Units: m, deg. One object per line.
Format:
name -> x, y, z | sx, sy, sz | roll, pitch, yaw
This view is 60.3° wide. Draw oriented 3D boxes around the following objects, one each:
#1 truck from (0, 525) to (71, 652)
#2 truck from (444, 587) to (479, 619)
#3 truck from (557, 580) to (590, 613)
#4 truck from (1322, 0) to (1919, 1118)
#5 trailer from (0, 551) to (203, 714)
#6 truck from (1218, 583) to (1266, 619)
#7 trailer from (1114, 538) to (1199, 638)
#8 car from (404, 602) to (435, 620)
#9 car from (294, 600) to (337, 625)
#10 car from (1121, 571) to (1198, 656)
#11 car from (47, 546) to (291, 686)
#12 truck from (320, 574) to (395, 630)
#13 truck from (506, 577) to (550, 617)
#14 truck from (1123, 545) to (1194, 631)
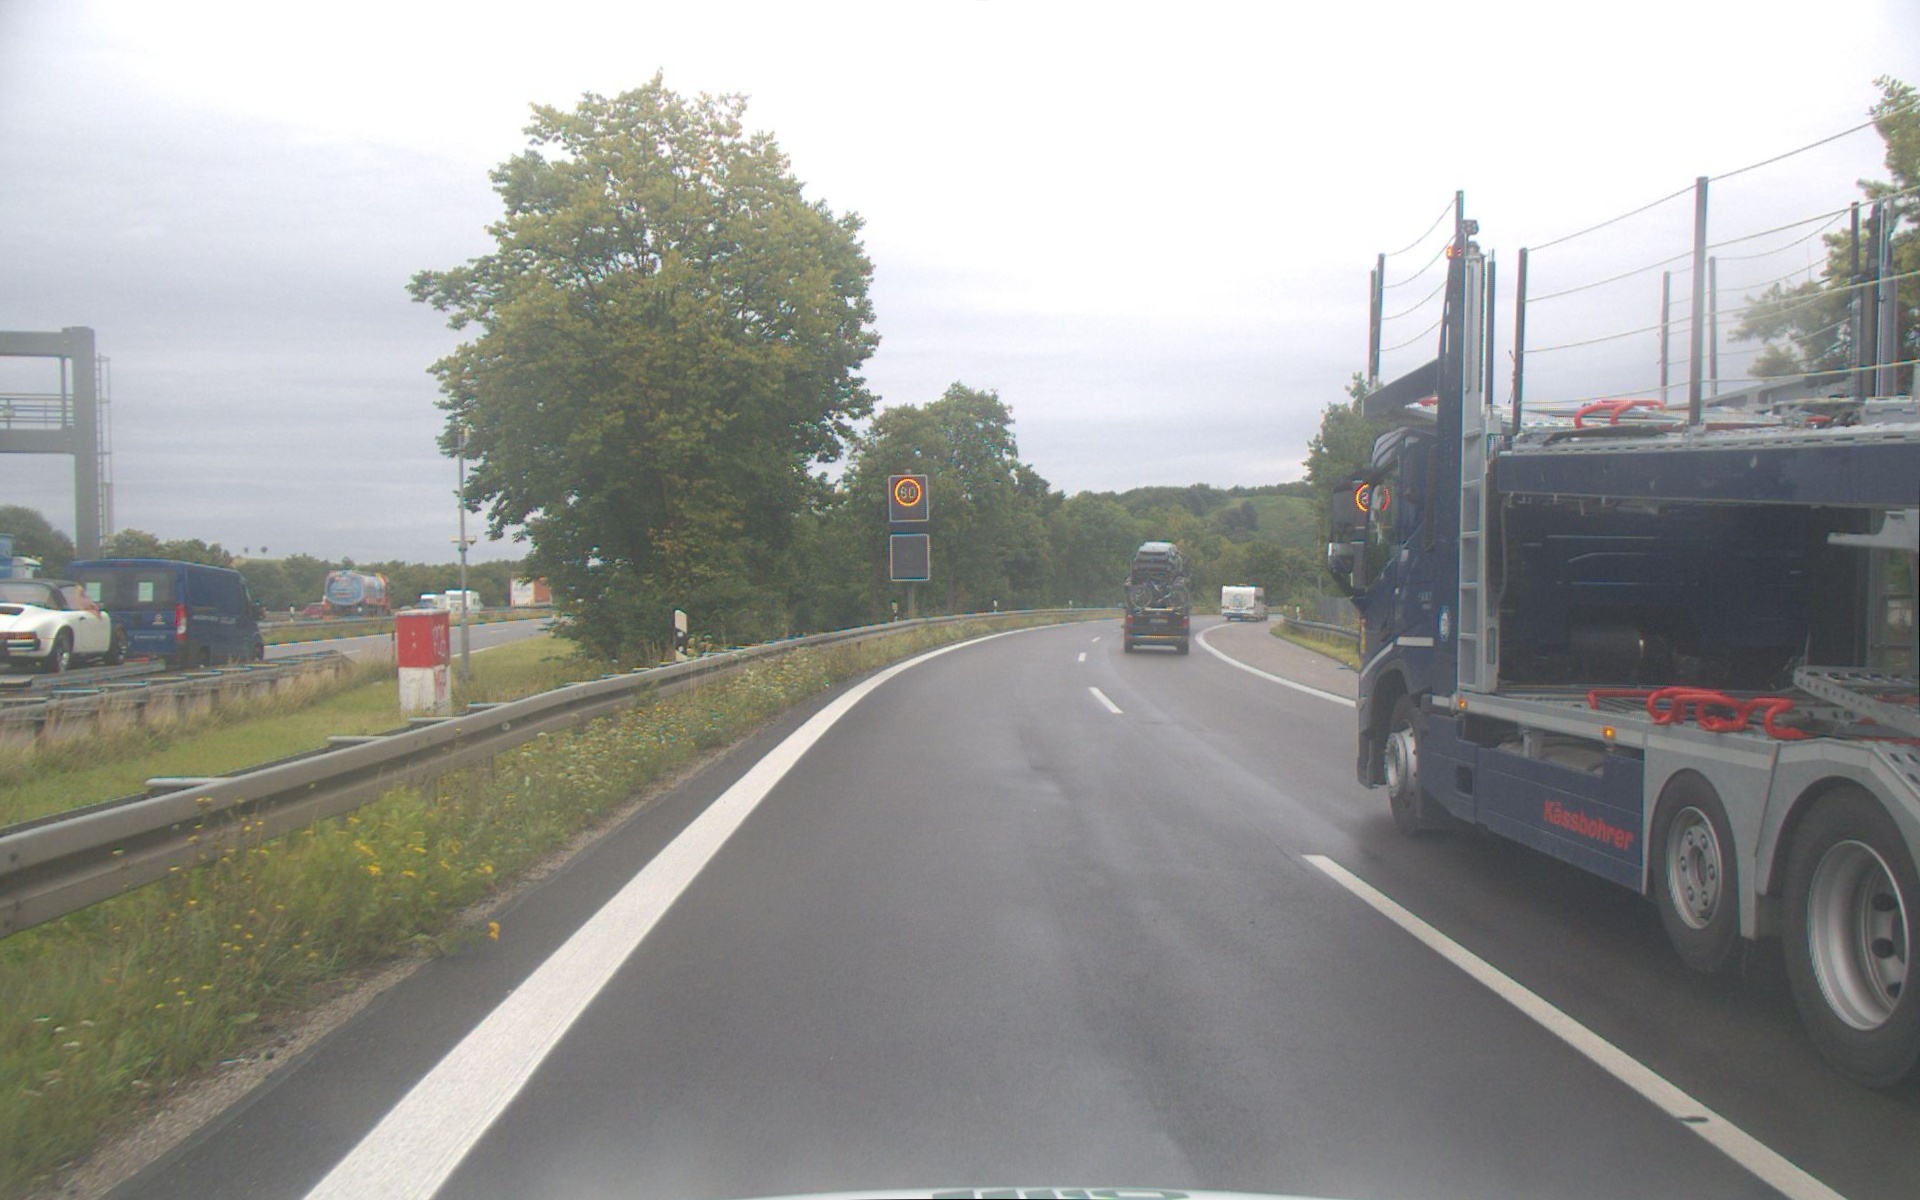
truck -> -30.919, -0.331, 52.385 | 2.589, 3.879, 7.327 | 0, -1, -10
truck -> -43.680, 0.243, 144.938 | 2.201, 2.751, 5.269 | 0, 0, -9
truck -> -55.148, -0.511, 236.363 | 3.664, 4.494, 11.873 | 0, 0, -8
truck -> 4.182, -0.491, 8.344 | 2.683, 4.037, 9.128 | 0, 0, 0
trailer -> -13.323, 0.407, 23.942 | 2.439, 2.029, 7.048 | 0, 0, -9
truck -> 21.482, 0.081, 125.832 | 2.593, 2.651, 6.421 | -1, 0, 19
trailer -> 8.953, -0.539, 74.938 | 3.376, 4.069, 12.036 | 2, 1, 7
car -> -47.579, 0.988, 145.666 | 1.850, 1.601, 3.992 | 0, -1, -8
car -> -43.225, 0.845, 110.950 | 1.775, 1.601, 3.992 | 0, -1, -8
car -> 5.835, 0.367, 48.584 | 2.065, 2.304, 5.900 | -1, 0, 6
car -> -14.344, 0.268, 30.492 | 2.329, 2.306, 6.244 | 0, 0, -9
truck -> -38.563, 0.105, 106.134 | 2.804, 3.424, 8.614 | 0, 0, -8
truck -> -48.865, -0.340, 187.321 | 3.664, 4.494, 10.175 | 0, 0, -9
truck -> 10.376, -0.622, 86.337 | 3.322, 4.069, 10.855 | 2, 1, 7
